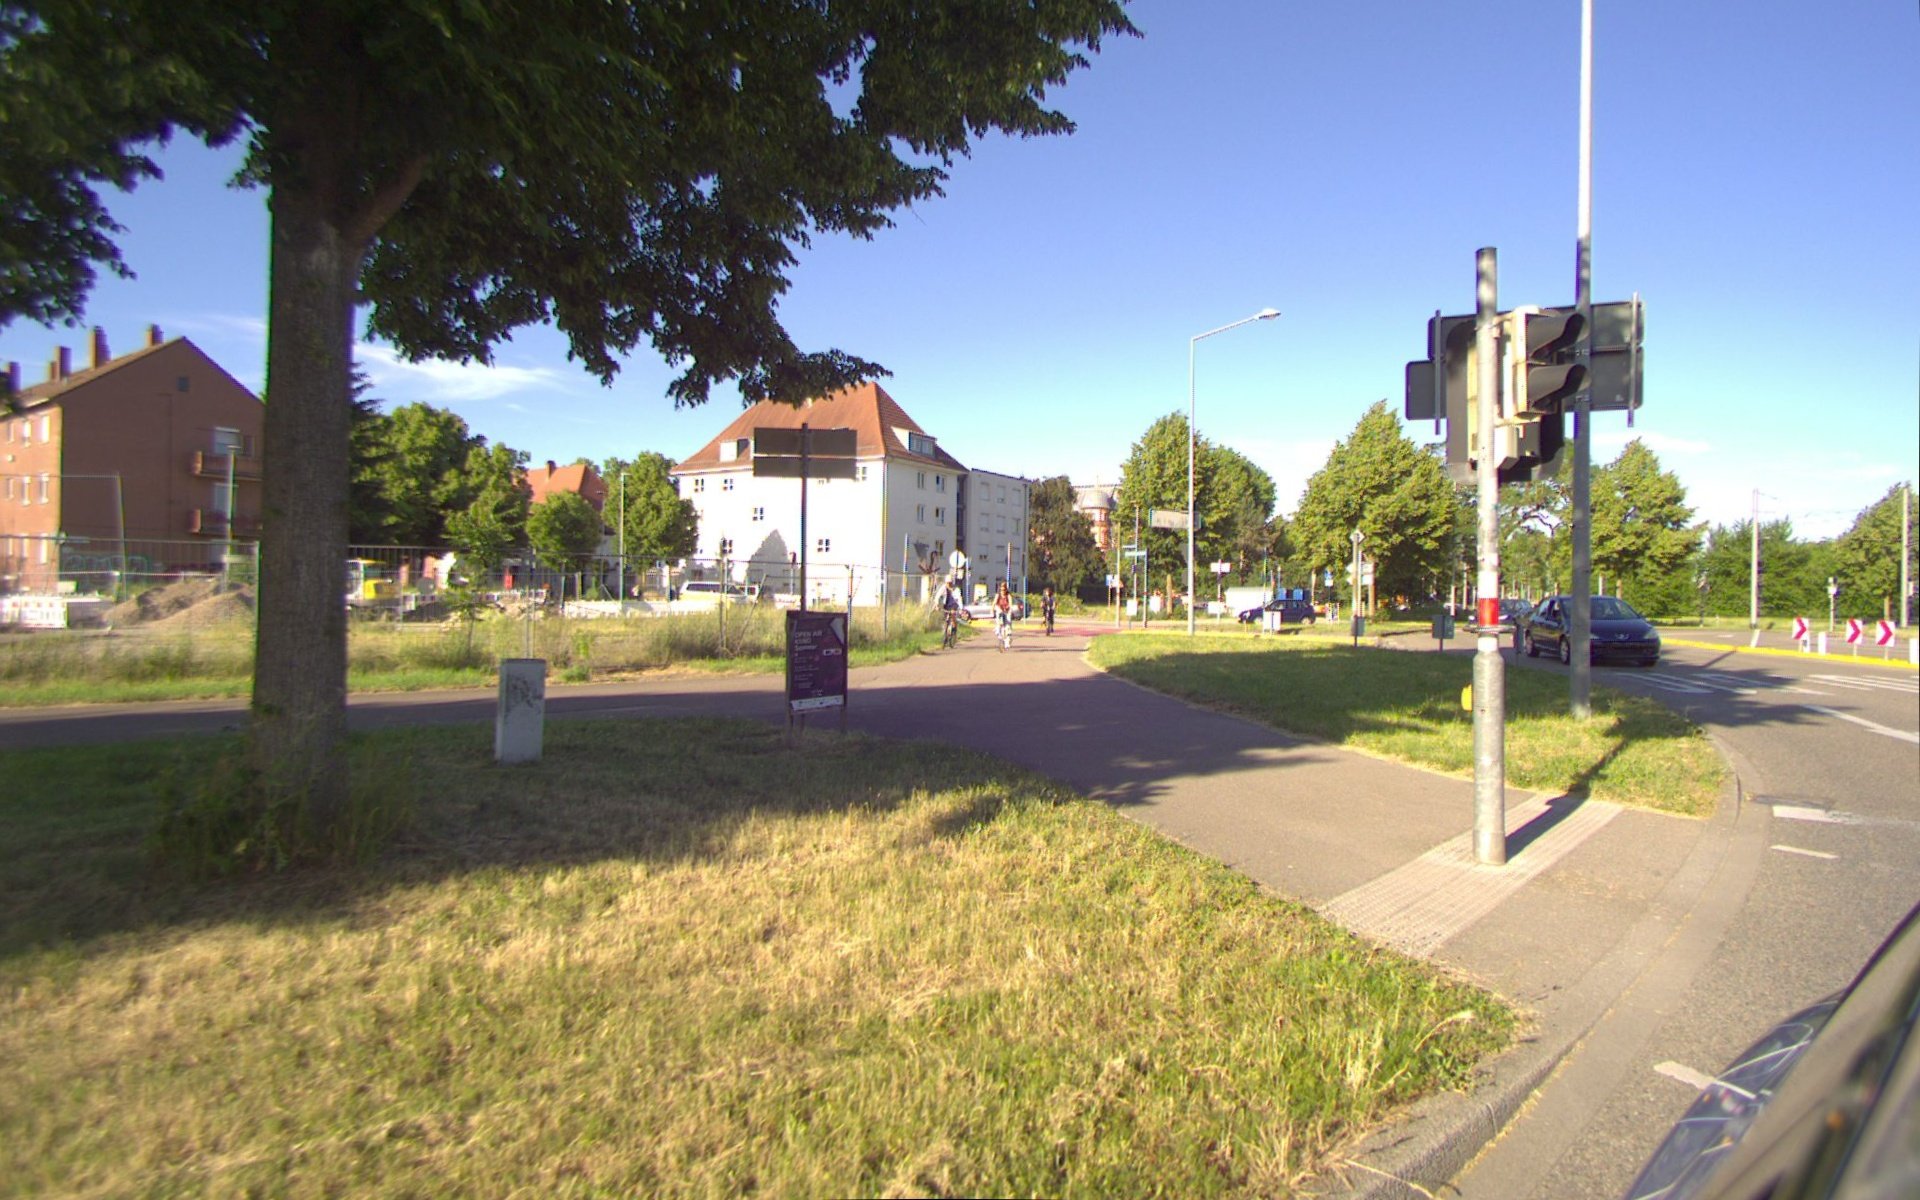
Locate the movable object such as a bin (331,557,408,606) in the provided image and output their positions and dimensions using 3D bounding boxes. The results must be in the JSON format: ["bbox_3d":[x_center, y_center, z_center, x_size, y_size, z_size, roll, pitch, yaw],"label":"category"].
[{"bbox_3d":[-25.046,-0.777,42.984,2.036,2.039,1.993,0,1,12],"label":"movable object such as a bin"}]

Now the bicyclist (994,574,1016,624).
[{"bbox_3d":[1.492,-0.036,33.333,0.583,1.606,0.963,0,1,11],"label":"bicyclist"}]

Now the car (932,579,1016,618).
[{"bbox_3d":[0.665,-0.080,48.641,3.546,1.772,1.998,1,0,38],"label":"car"}]

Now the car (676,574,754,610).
[{"bbox_3d":[-14.377,-0.468,59.402,4.440,2.039,1.977,1,1,33],"label":"car"}]

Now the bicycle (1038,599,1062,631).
[{"bbox_3d":[3.183,0.515,35.661,0.473,1.095,1.635,0,1,17],"label":"bicycle"}]

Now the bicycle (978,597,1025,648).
[{"bbox_3d":[1.015,0.527,24.507,0.502,1.166,1.590,2,1,26],"label":"bicycle"}]

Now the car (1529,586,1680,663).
[{"bbox_3d":[14.267,0.467,22.640,1.739,1.534,3.929,0,1,15],"label":"car"}]

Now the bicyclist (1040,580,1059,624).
[{"bbox_3d":[3.167,0.065,35.622,0.465,1.504,0.910,0,1,18],"label":"bicyclist"}]

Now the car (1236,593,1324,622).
[{"bbox_3d":[16.173,0.361,51.279,3.925,1.395,1.757,-1,1,1],"label":"car"}]

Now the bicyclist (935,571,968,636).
[{"bbox_3d":[-0.206,0.074,24.794,0.644,1.572,0.792,0,0,12],"label":"bicyclist"}]

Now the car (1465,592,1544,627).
[{"bbox_3d":[23.564,0.389,43.728,3.880,1.446,1.847,0,1,-42],"label":"car"}]

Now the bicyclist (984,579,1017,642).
[{"bbox_3d":[0.988,0.240,24.469,0.499,1.491,0.826,1,0,26],"label":"bicyclist"}]

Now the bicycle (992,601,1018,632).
[{"bbox_3d":[1.498,0.531,33.344,0.583,0.972,1.895,0,1,10],"label":"bicycle"}]

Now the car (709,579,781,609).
[{"bbox_3d":[-13.608,-0.417,64.036,4.225,1.807,1.876,1,0,29],"label":"car"}]

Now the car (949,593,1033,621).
[{"bbox_3d":[1.676,0.361,54.349,4.214,1.446,1.842,0,1,15],"label":"car"}]

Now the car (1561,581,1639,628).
[{"bbox_3d":[23.396,0.127,36.906,1.842,1.589,4.463,1,1,40],"label":"car"}]

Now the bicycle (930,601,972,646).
[{"bbox_3d":[-0.200,0.552,24.828,0.647,1.025,1.814,1,1,12],"label":"bicycle"}]
